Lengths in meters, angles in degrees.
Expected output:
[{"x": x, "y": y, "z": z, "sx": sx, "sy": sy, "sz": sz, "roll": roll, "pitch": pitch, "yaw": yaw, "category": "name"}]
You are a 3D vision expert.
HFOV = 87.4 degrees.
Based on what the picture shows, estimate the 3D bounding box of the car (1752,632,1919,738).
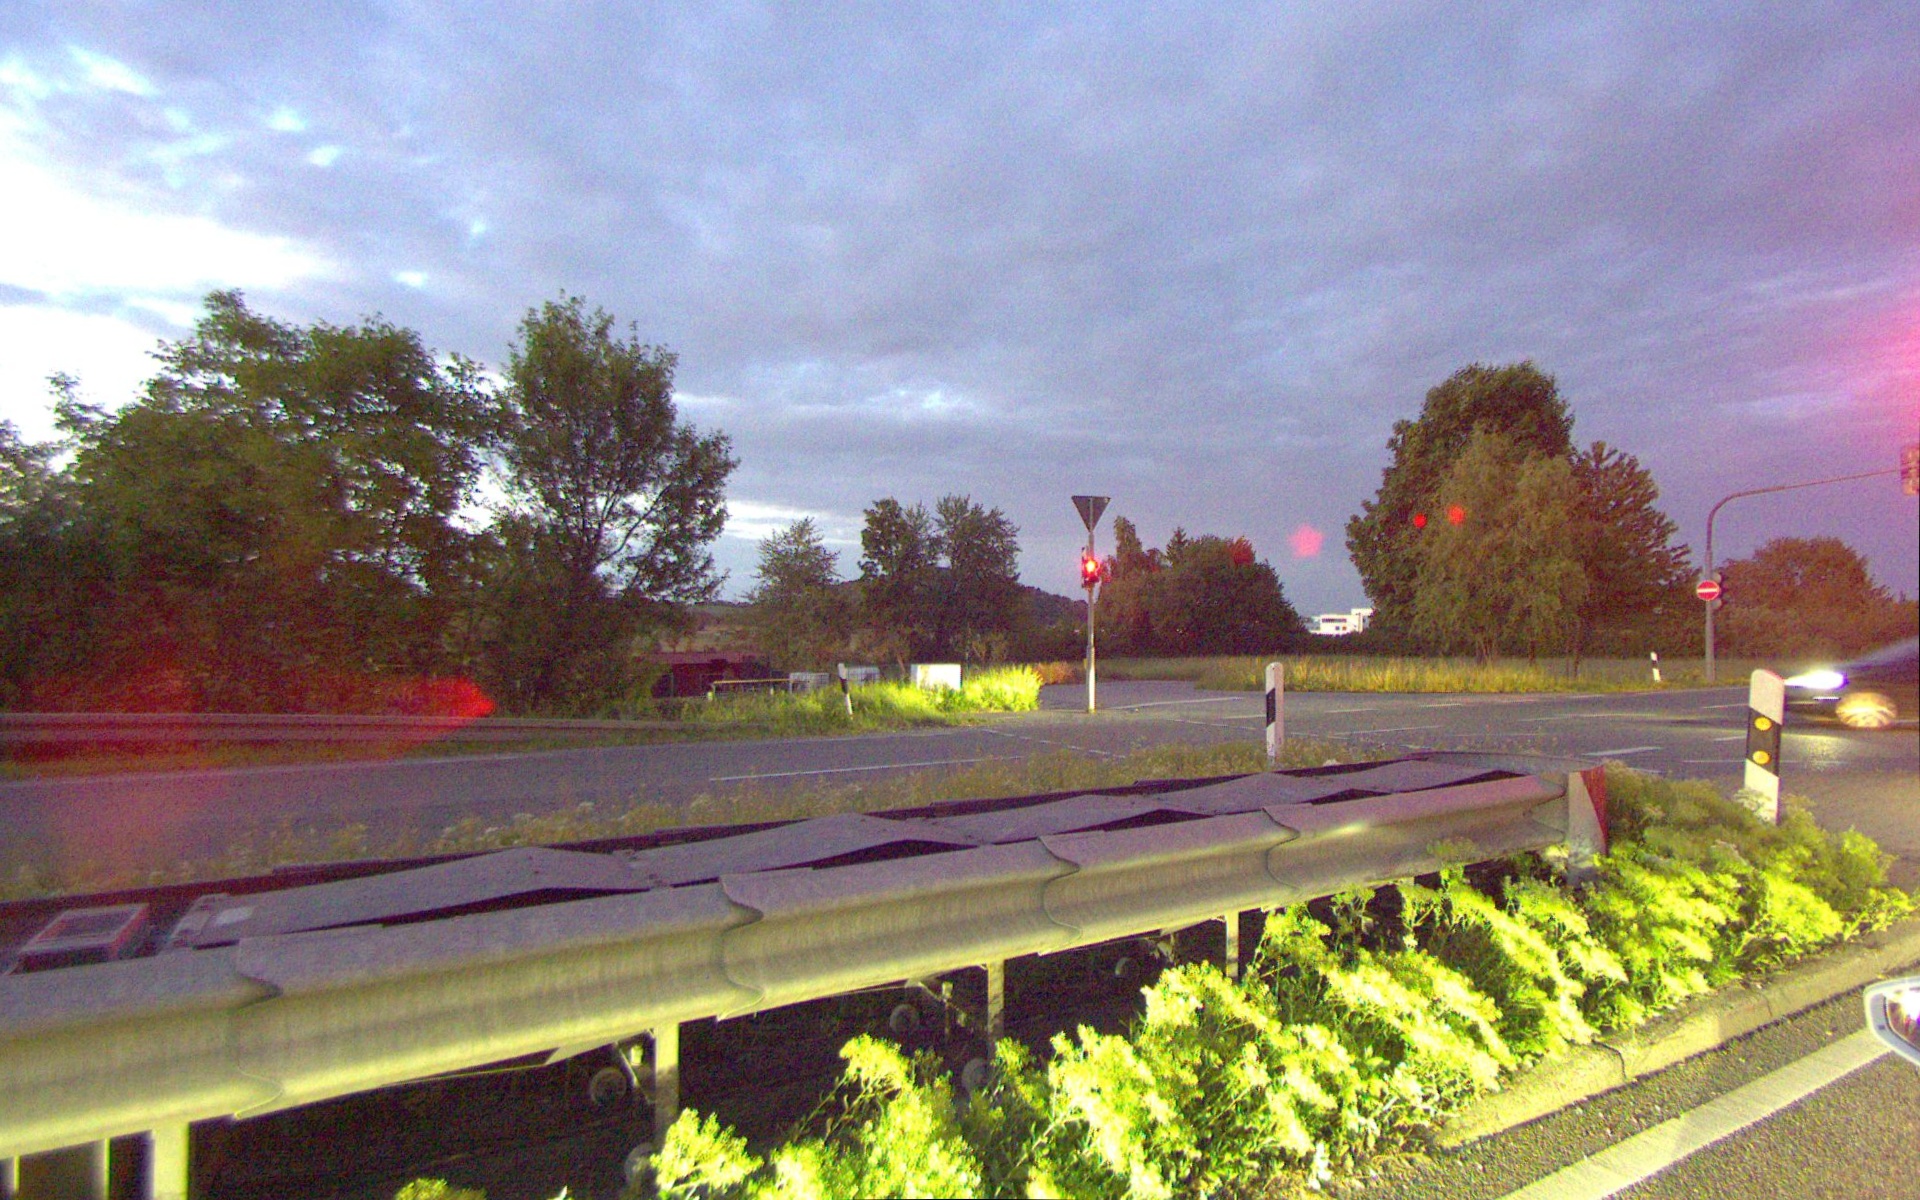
[{"x": 15.044, "y": 1.255, "z": 15.122, "sx": 4.530, "sy": 1.540, "sz": 1.998, "roll": -1, "pitch": -2, "yaw": 26, "category": "car"}]
